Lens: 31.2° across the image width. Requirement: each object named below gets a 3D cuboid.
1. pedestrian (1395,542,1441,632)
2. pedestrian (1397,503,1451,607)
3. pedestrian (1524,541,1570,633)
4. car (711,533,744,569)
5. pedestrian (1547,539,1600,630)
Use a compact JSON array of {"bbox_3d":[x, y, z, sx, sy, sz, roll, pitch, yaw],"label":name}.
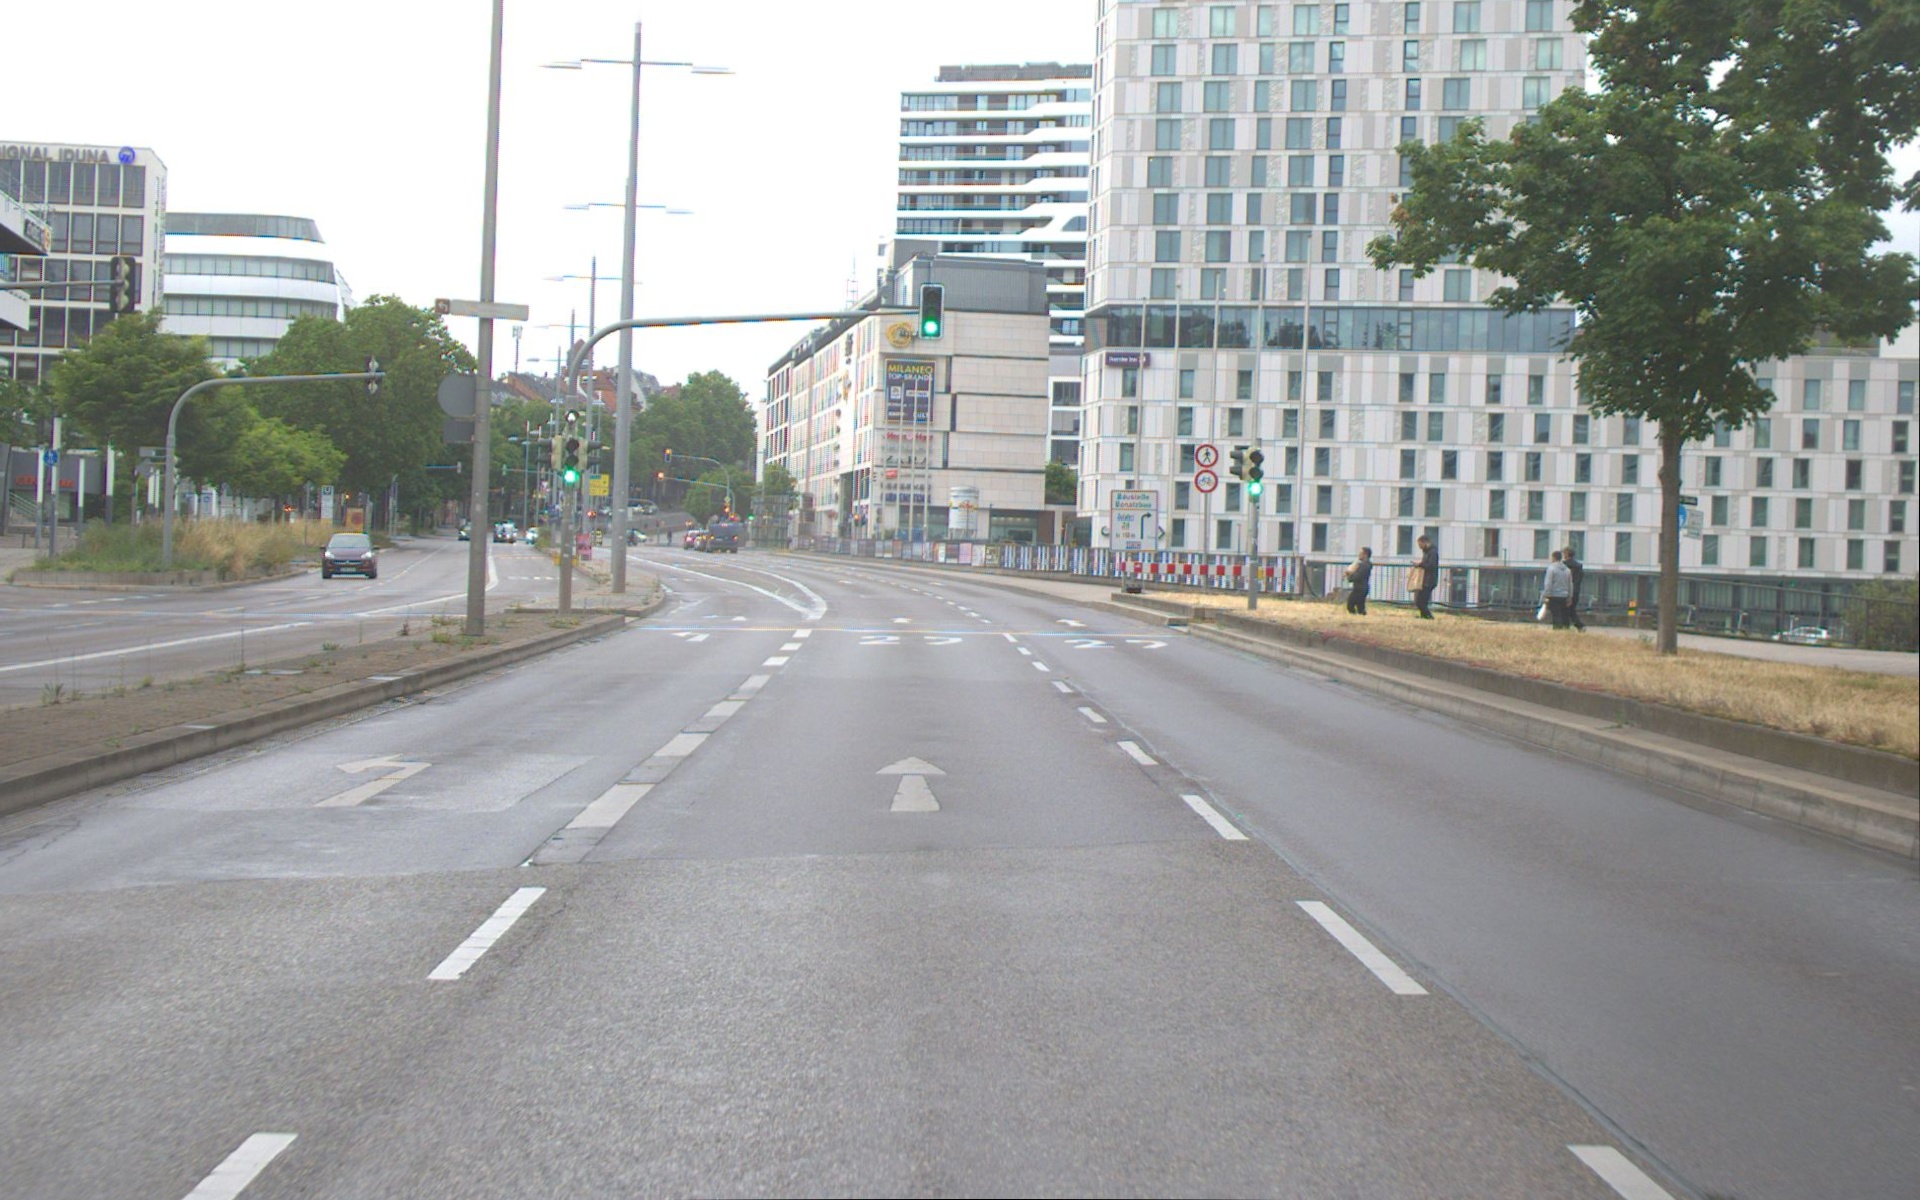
[{"bbox_3d":[8.162,-0.240,61.264,0.550,1.572,0.669,2,3,33],"label":"pedestrian"},{"bbox_3d":[8.269,-0.804,61.262,0.781,1.835,0.551,-1,3,-44],"label":"pedestrian"},{"bbox_3d":[10.280,-0.229,60.190,0.550,1.572,0.669,2,3,33],"label":"pedestrian"},{"bbox_3d":[-15.940,-3.362,235.678,1.993,2.335,4.000,-3,1,-2],"label":"car"},{"bbox_3d":[10.869,-0.280,60.931,0.670,1.572,0.667,3,3,37],"label":"pedestrian"}]
